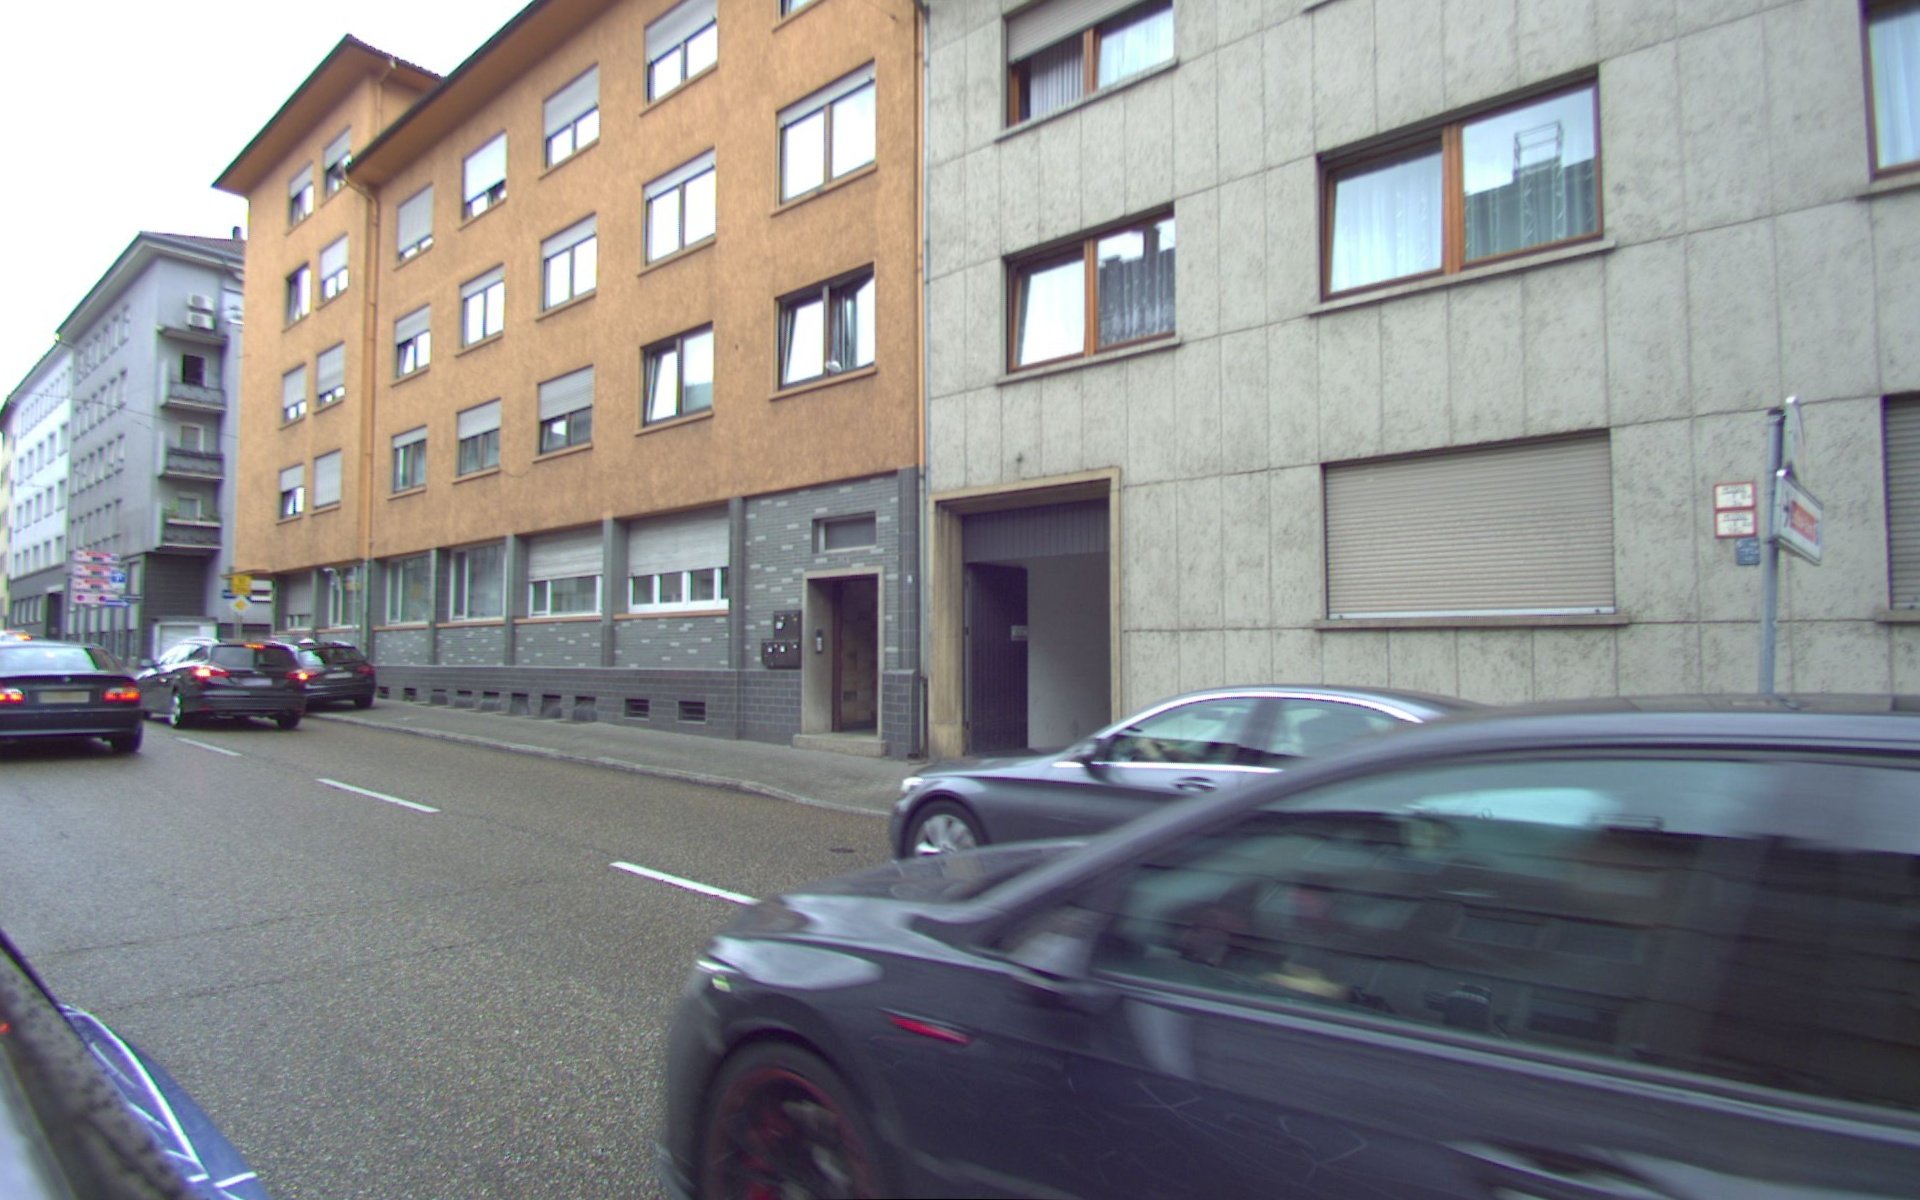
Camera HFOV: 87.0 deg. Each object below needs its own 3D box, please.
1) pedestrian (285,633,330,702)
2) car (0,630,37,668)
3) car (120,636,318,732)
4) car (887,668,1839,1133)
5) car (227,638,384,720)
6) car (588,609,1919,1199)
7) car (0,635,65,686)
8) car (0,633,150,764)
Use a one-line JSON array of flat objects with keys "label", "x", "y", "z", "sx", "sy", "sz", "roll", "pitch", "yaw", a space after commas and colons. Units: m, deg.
[{"label": "pedestrian", "x": -16.394, "y": 1.679, "z": 25.416, "sx": 0.757, "sy": 1.652, "sz": 1.024, "roll": -1, "pitch": 0, "yaw": -44}, {"label": "car", "x": -46.475, "y": 2.360, "z": 49.282, "sx": 4.216, "sy": 1.735, "sz": 1.832, "roll": -1, "pitch": 0, "yaw": 41}, {"label": "car", "x": -13.053, "y": 1.413, "z": 17.738, "sx": 4.370, "sy": 1.484, "sz": 1.705, "roll": -2, "pitch": -5, "yaw": 40}, {"label": "car", "x": 1.783, "y": 1.158, "z": 5.437, "sx": 4.362, "sy": 1.381, "sz": 1.678, "roll": -1, "pitch": -5, "yaw": 40}, {"label": "car", "x": -14.251, "y": 1.632, "z": 21.944, "sx": 4.216, "sy": 1.485, "sz": 1.776, "roll": -1, "pitch": 0, "yaw": 41}, {"label": "car", "x": 1.237, "y": 0.871, "z": 1.851, "sx": 4.214, "sy": 1.592, "sz": 1.677, "roll": 0, "pitch": -4, "yaw": 40}, {"label": "car", "x": -32.297, "y": 2.037, "z": 34.688, "sx": 4.433, "sy": 1.551, "sz": 1.677, "roll": -1, "pitch": -6, "yaw": 40}, {"label": "car", "x": -11.851, "y": 1.150, "z": 12.862, "sx": 4.216, "sy": 1.381, "sz": 1.677, "roll": 0, "pitch": -4, "yaw": 42}]
